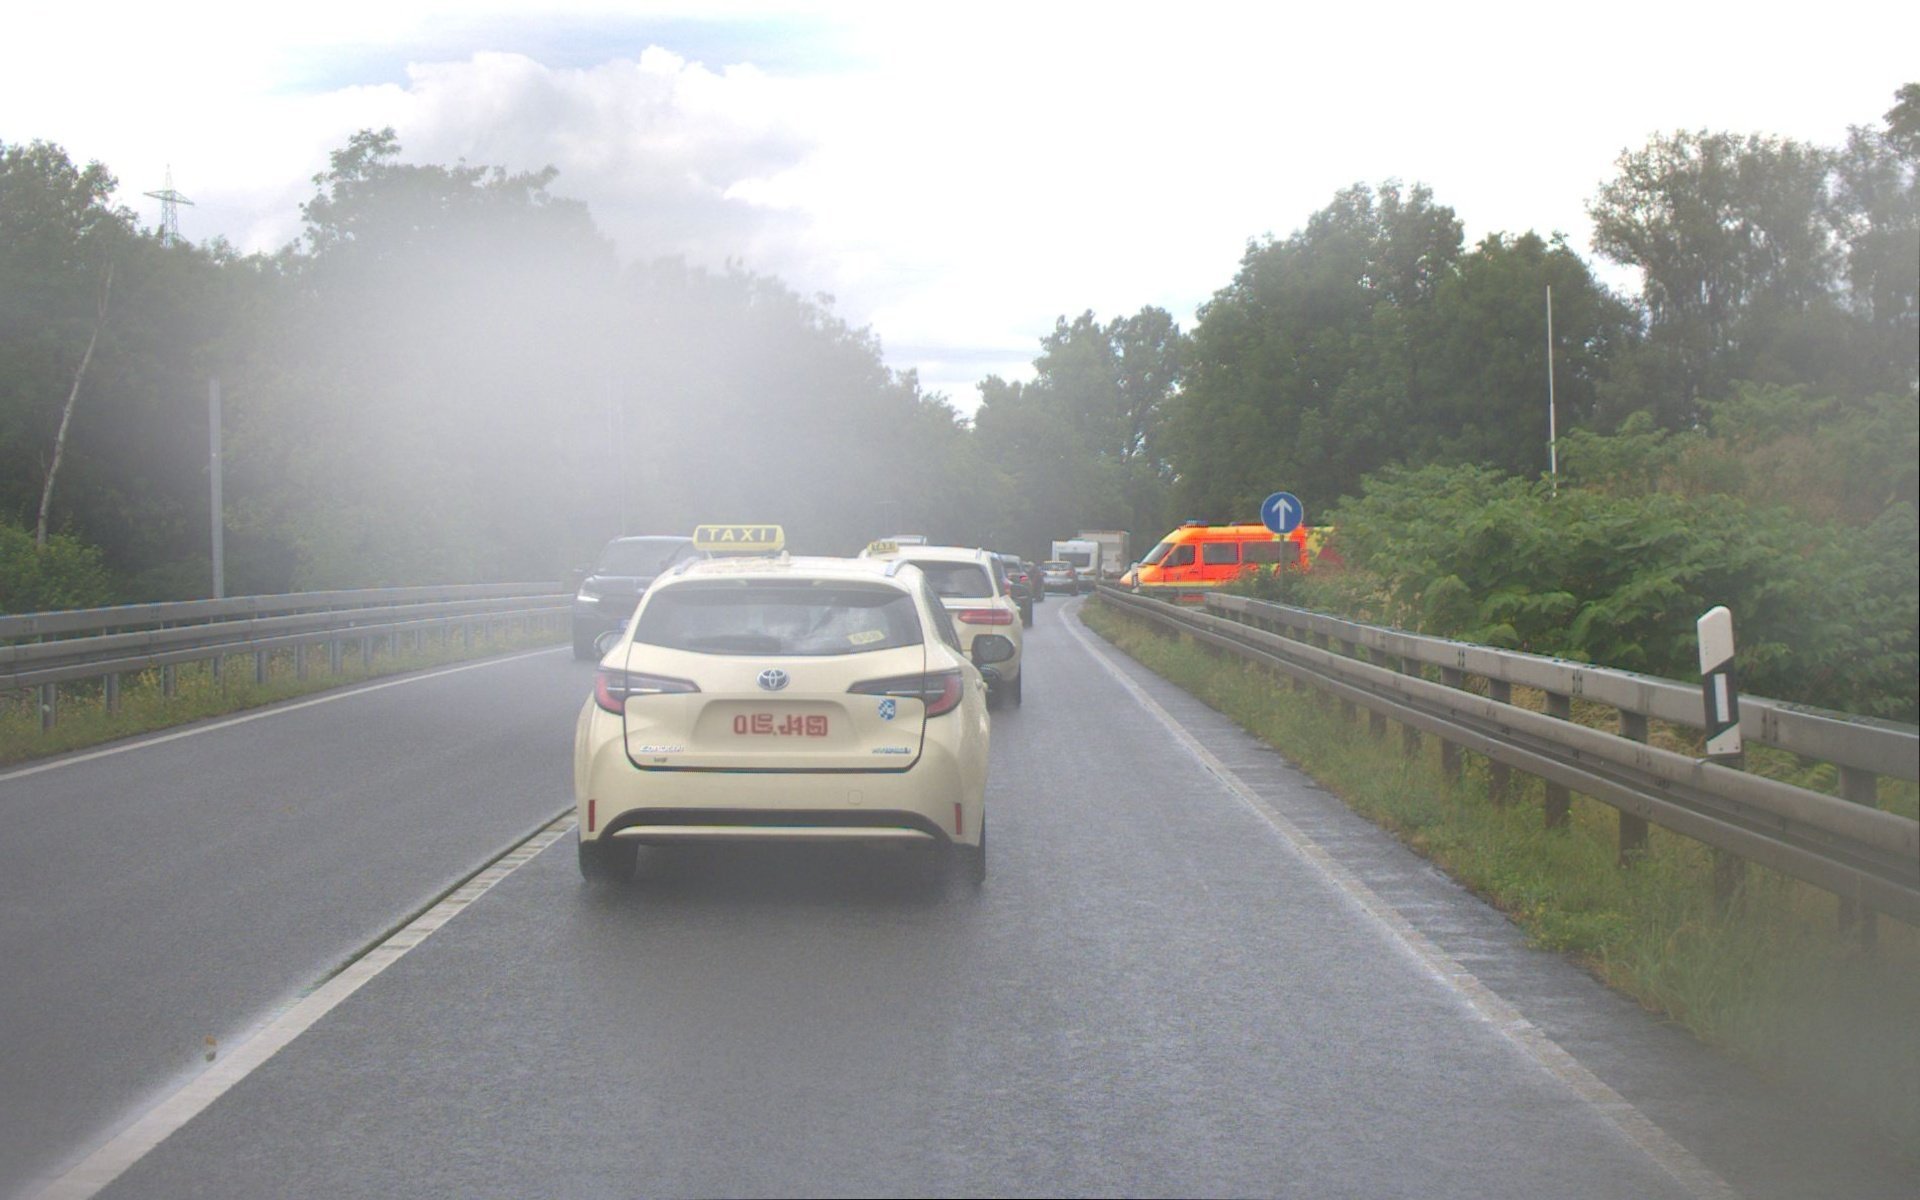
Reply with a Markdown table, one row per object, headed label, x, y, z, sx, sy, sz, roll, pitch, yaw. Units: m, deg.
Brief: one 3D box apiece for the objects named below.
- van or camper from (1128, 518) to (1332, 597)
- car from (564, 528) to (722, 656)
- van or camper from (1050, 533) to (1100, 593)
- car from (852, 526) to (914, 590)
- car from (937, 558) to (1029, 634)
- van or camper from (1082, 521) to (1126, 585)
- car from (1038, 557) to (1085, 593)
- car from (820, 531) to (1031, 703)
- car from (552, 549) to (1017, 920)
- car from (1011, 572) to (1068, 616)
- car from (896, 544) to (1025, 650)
| label | x | y | z | sx | sy | sz | roll | pitch | yaw |
| --- | --- | --- | --- | --- | --- | --- | --- | --- | --- |
| van or camper | 8.027 | -1.262 | 102.261 | 5.676 | 2.234 | 2.021 | 1 | 1 | -14 |
| car | -4.117 | -0.142 | 45.165 | 1.779 | 1.556 | 4.302 | 1 | 1 | -2 |
| van or camper | 5.687 | -1.882 | 170.900 | 2.333 | 2.854 | 6.307 | 1 | 1 | 1 |
| car | -2.685 | -1.497 | 120.548 | 1.993 | 2.121 | 4.895 | 1 | 1 | 1 |
| car | 0.455 | -0.107 | 72.987 | 1.854 | 1.438 | 4.171 | 1 | 2 | -1 |
| van or camper | 8.305 | -2.738 | 198.632 | 2.333 | 3.550 | 6.307 | 1 | 1 | 1 |
| car | 4.385 | -1.078 | 147.971 | 1.854 | 1.438 | 4.171 | 1 | 1 | 3 |
| car | -0.332 | 0.110 | 32.673 | 1.854 | 1.438 | 4.171 | 1 | 2 | -1 |
| car | -0.730 | 0.513 | 15.964 | 1.854 | 1.389 | 4.171 | 1 | 2 | -1 |
| car | 2.815 | -0.235 | 121.606 | 1.854 | 1.438 | 4.171 | 1 | 1 | 3 |
| car | -0.020 | -0.081 | 52.289 | 1.854 | 1.438 | 4.171 | 1 | 2 | -1 |
